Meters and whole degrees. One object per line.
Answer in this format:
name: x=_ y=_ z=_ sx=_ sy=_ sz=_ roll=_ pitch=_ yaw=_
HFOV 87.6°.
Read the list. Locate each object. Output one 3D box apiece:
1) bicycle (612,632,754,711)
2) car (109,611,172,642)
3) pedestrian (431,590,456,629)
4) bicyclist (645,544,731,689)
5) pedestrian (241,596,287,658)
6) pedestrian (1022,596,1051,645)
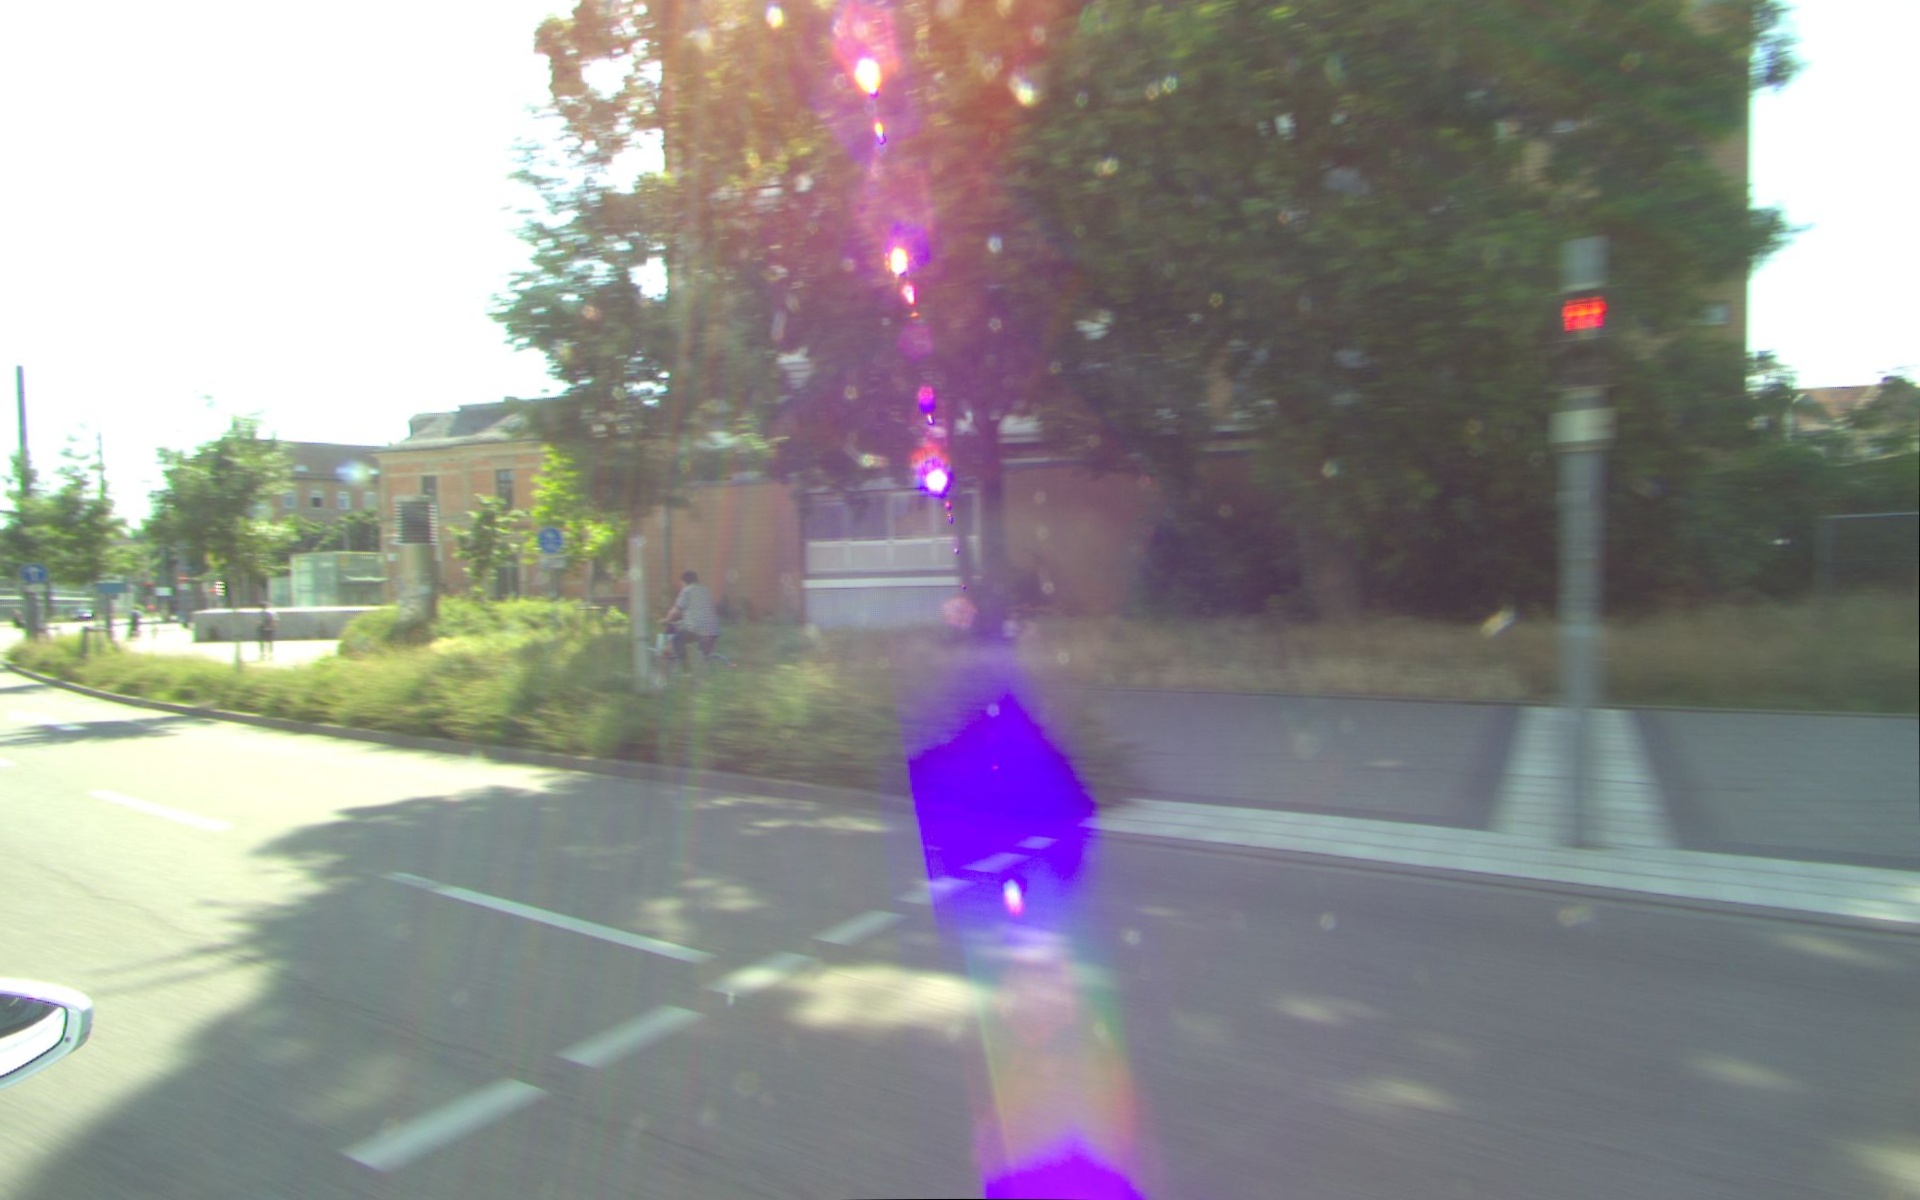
bicycle: x=-3.796 y=0.948 z=13.679 sx=1.930 sy=0.959 sz=0.690 roll=-1 pitch=3 yaw=31
car: x=-43.743 y=1.374 z=53.563 sx=1.773 sy=1.530 sz=4.256 roll=-1 pitch=0 yaw=-28
pedestrian: x=-22.198 y=0.410 z=43.033 sx=0.639 sy=1.683 sz=0.648 roll=0 pitch=1 yaw=23
bicyclist: x=-3.688 y=0.223 z=13.584 sx=0.847 sy=1.903 sz=0.684 roll=-1 pitch=1 yaw=31
pedestrian: x=-19.952 y=0.756 z=28.701 sx=0.790 sy=1.748 sz=0.867 roll=0 pitch=1 yaw=38
pedestrian: x=1.416 y=0.375 z=18.633 sx=0.422 sy=0.904 sz=0.392 roll=0 pitch=1 yaw=25
